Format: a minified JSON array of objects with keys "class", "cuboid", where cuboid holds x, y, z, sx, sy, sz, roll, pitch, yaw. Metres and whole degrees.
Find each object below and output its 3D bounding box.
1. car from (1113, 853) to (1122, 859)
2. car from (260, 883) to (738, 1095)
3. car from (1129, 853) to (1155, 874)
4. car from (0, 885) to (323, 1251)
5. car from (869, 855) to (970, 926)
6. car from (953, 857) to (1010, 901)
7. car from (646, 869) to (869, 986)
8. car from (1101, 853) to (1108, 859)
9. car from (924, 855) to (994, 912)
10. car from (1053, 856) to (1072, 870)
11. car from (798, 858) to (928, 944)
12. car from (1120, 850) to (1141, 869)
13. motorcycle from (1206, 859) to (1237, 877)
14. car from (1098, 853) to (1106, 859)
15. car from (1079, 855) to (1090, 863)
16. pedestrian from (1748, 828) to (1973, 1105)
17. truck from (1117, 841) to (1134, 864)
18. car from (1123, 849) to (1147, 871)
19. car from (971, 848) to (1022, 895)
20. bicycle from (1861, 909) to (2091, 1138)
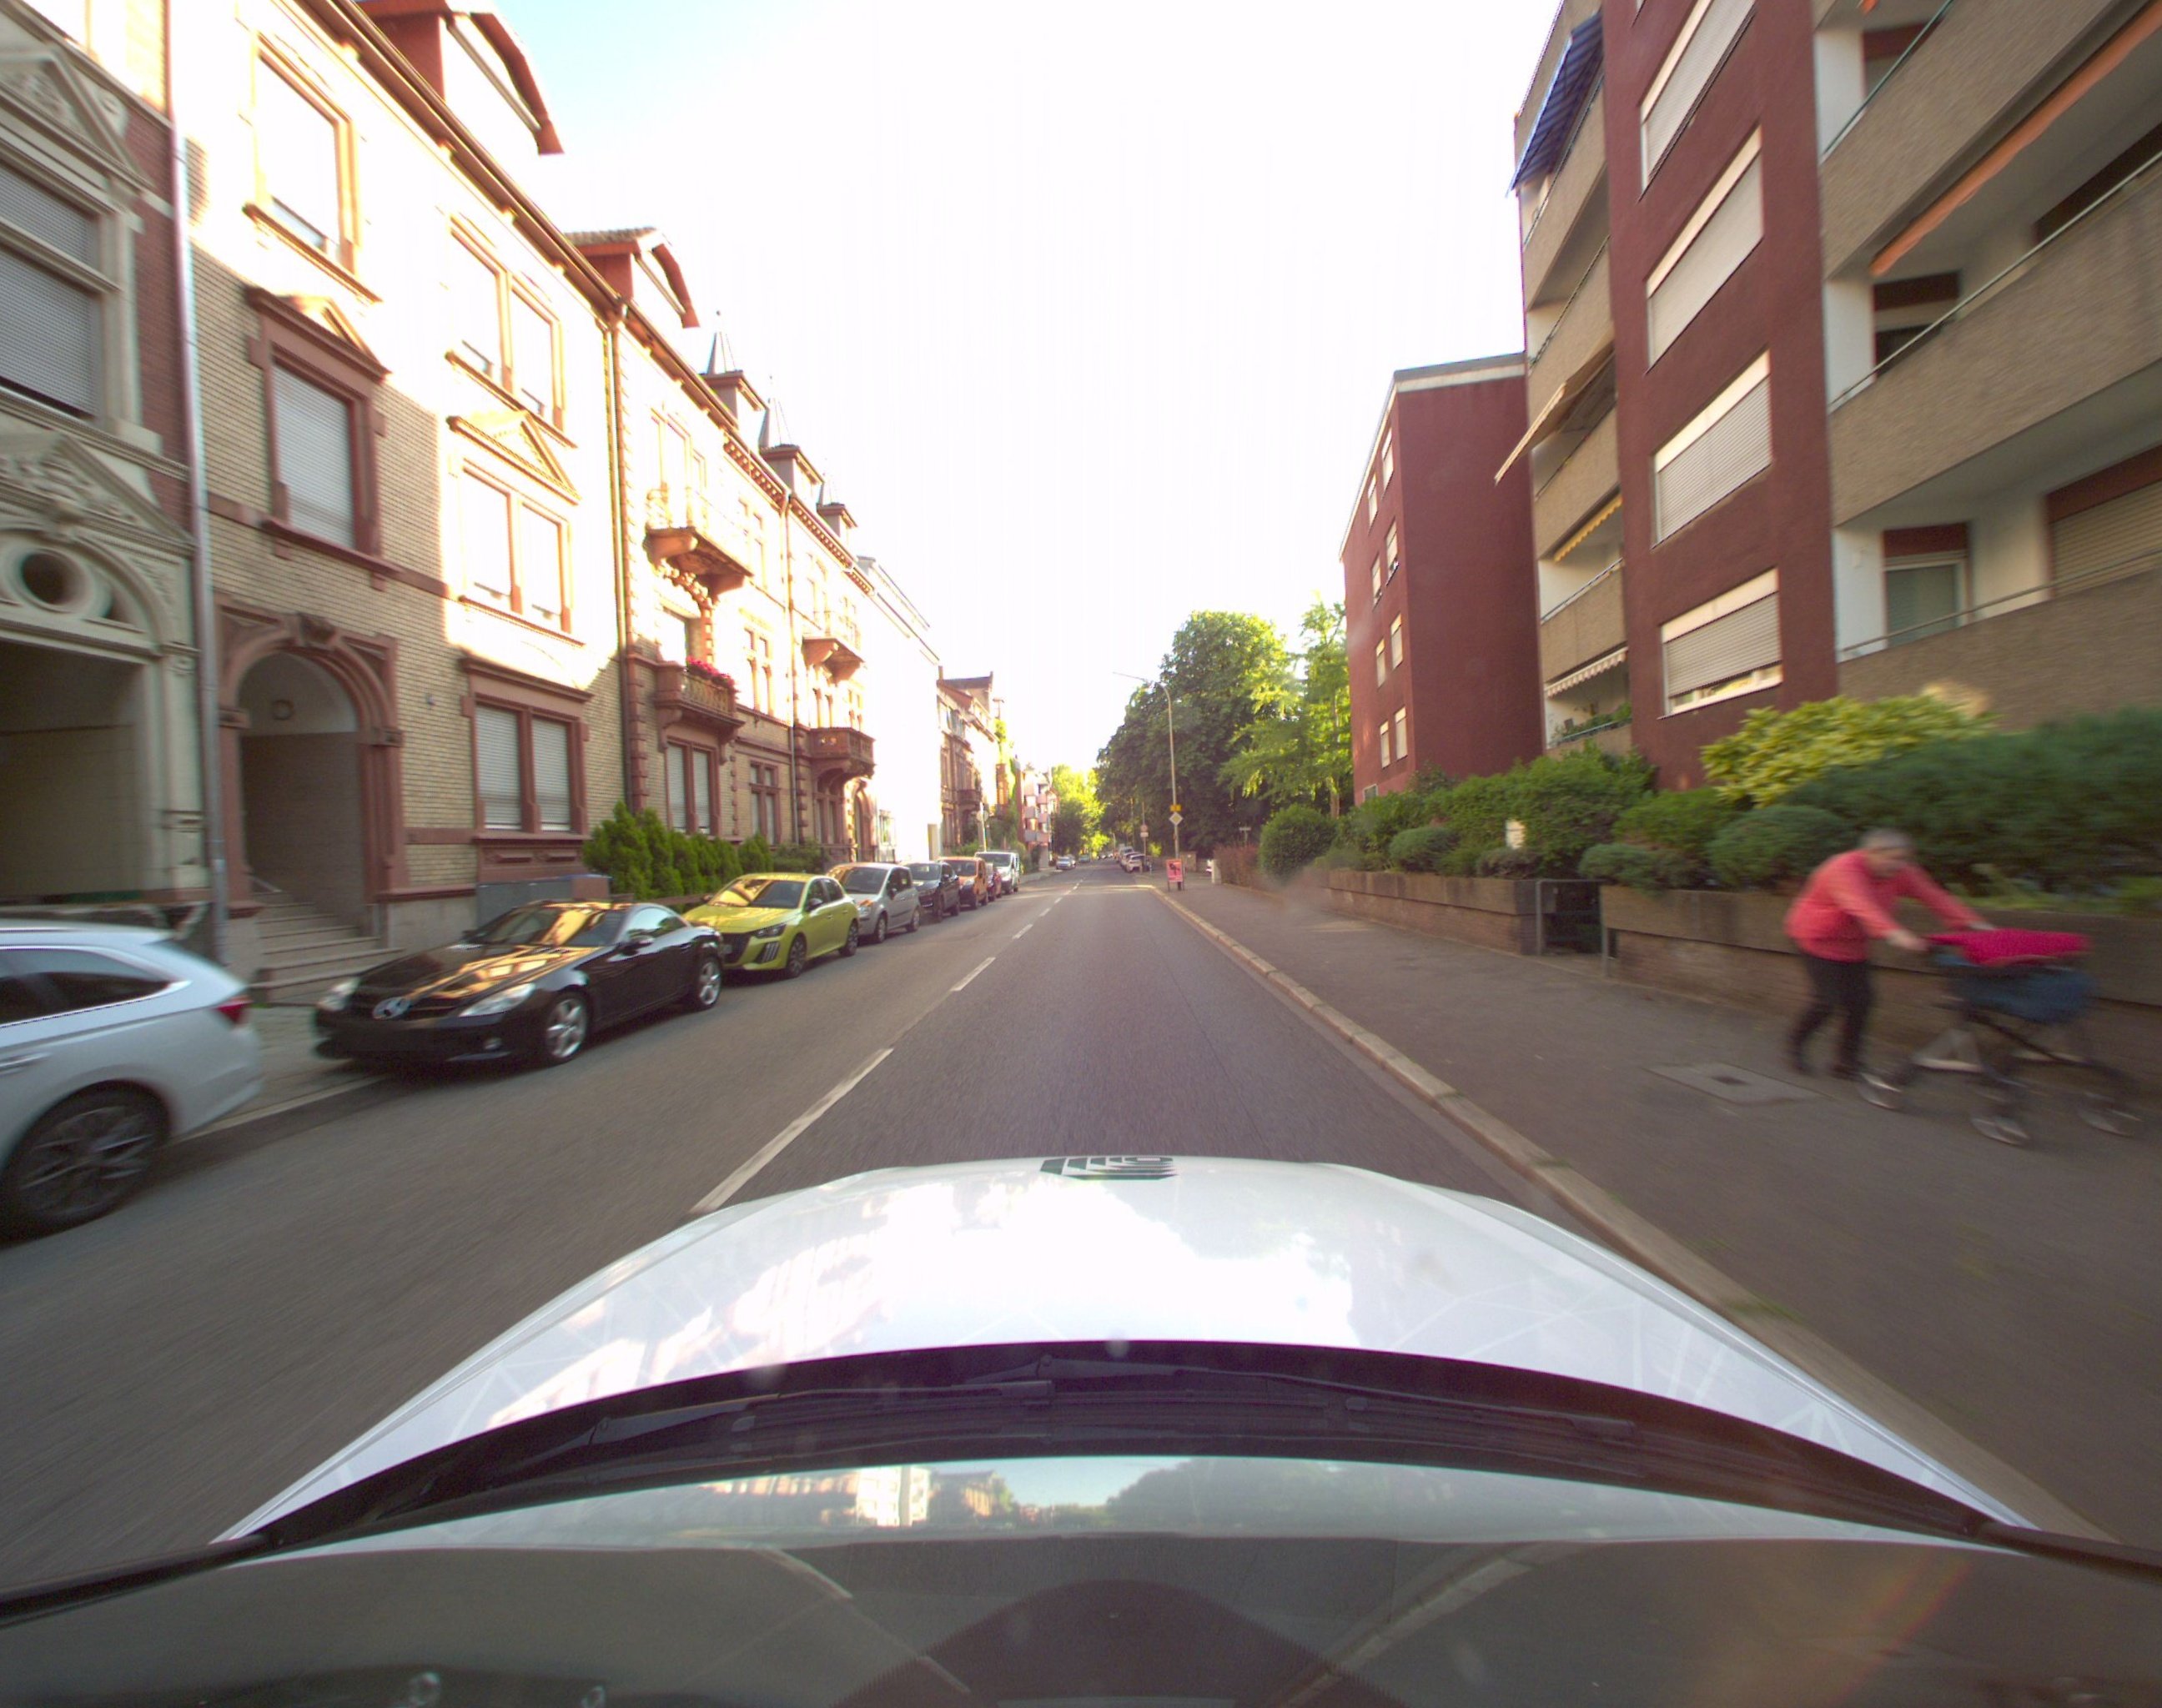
[{"class":"car","cuboid":[10.037,0.573,223.628,1.988,1.491,4.468,-3,1,-1]},{"class":"car","cuboid":[-5.097,1.065,7.909,1.695,1.366,3.862,-1,0,3]},{"class":"car","cuboid":[5.009,0.759,67.152,1.985,1.517,4.004,-3,1,3]},{"class":"car","cuboid":[-5.587,0.991,2.793,1.697,1.536,4.548,-1,0,0]},{"class":"car","cuboid":[-4.372,0.928,22.728,1.695,1.707,4.443,-1,0,3]},{"class":"car","cuboid":[-3.961,0.961,32.955,1.697,1.619,4.118,-1,0,1]},{"class":"car","cuboid":[-4.812,1.008,12.788,1.696,1.503,4.075,-1,-1,2]},{"class":"car","cuboid":[6.874,0.565,241.557,1.986,1.491,4.472,-3,1,2]},{"class":"car","cuboid":[-4.026,0.919,27.526,1.697,1.738,3.857,-1,0,1]},{"class":"car","cuboid":[-2.214,1.091,99.856,1.986,1.491,4.472,-3,1,2]},{"class":"car","cuboid":[-4.558,0.920,17.580,1.696,1.584,3.636,-1,0,1]},{"class":"car","cuboid":[5.078,0.514,83.677,1.985,1.737,4.004,-3,1,3]},{"class":"motorcycle","cuboid":[9.121,0.881,52.756,1.897,1.112,0.791,-1,1,4]},{"class":"car","cuboid":[5.581,0.552,212.803,1.986,1.491,4.472,-3,1,2]},{"class":"car","cuboid":[0.687,0.952,166.359,1.986,1.491,4.472,-3,1,2]},{"class":"pedestrian","cuboid":[4.263,0.571,4.500,0.596,1.403,0.668,-1,1,0]},{"class":"truck","cuboid":[5.913,-0.175,108.432,1.986,2.896,4.472,-3,1,1]},{"class":"car","cuboid":[4.815,0.547,72.840,1.985,1.737,4.004,-3,1,3]},{"class":"car","cuboid":[-3.903,0.759,38.379,1.787,2.010,4.698,-1,0,1]},{"class":"bicycle","cuboid":[4.255,0.776,3.900,0.564,0.970,0.492,-1,1,-2]}]
